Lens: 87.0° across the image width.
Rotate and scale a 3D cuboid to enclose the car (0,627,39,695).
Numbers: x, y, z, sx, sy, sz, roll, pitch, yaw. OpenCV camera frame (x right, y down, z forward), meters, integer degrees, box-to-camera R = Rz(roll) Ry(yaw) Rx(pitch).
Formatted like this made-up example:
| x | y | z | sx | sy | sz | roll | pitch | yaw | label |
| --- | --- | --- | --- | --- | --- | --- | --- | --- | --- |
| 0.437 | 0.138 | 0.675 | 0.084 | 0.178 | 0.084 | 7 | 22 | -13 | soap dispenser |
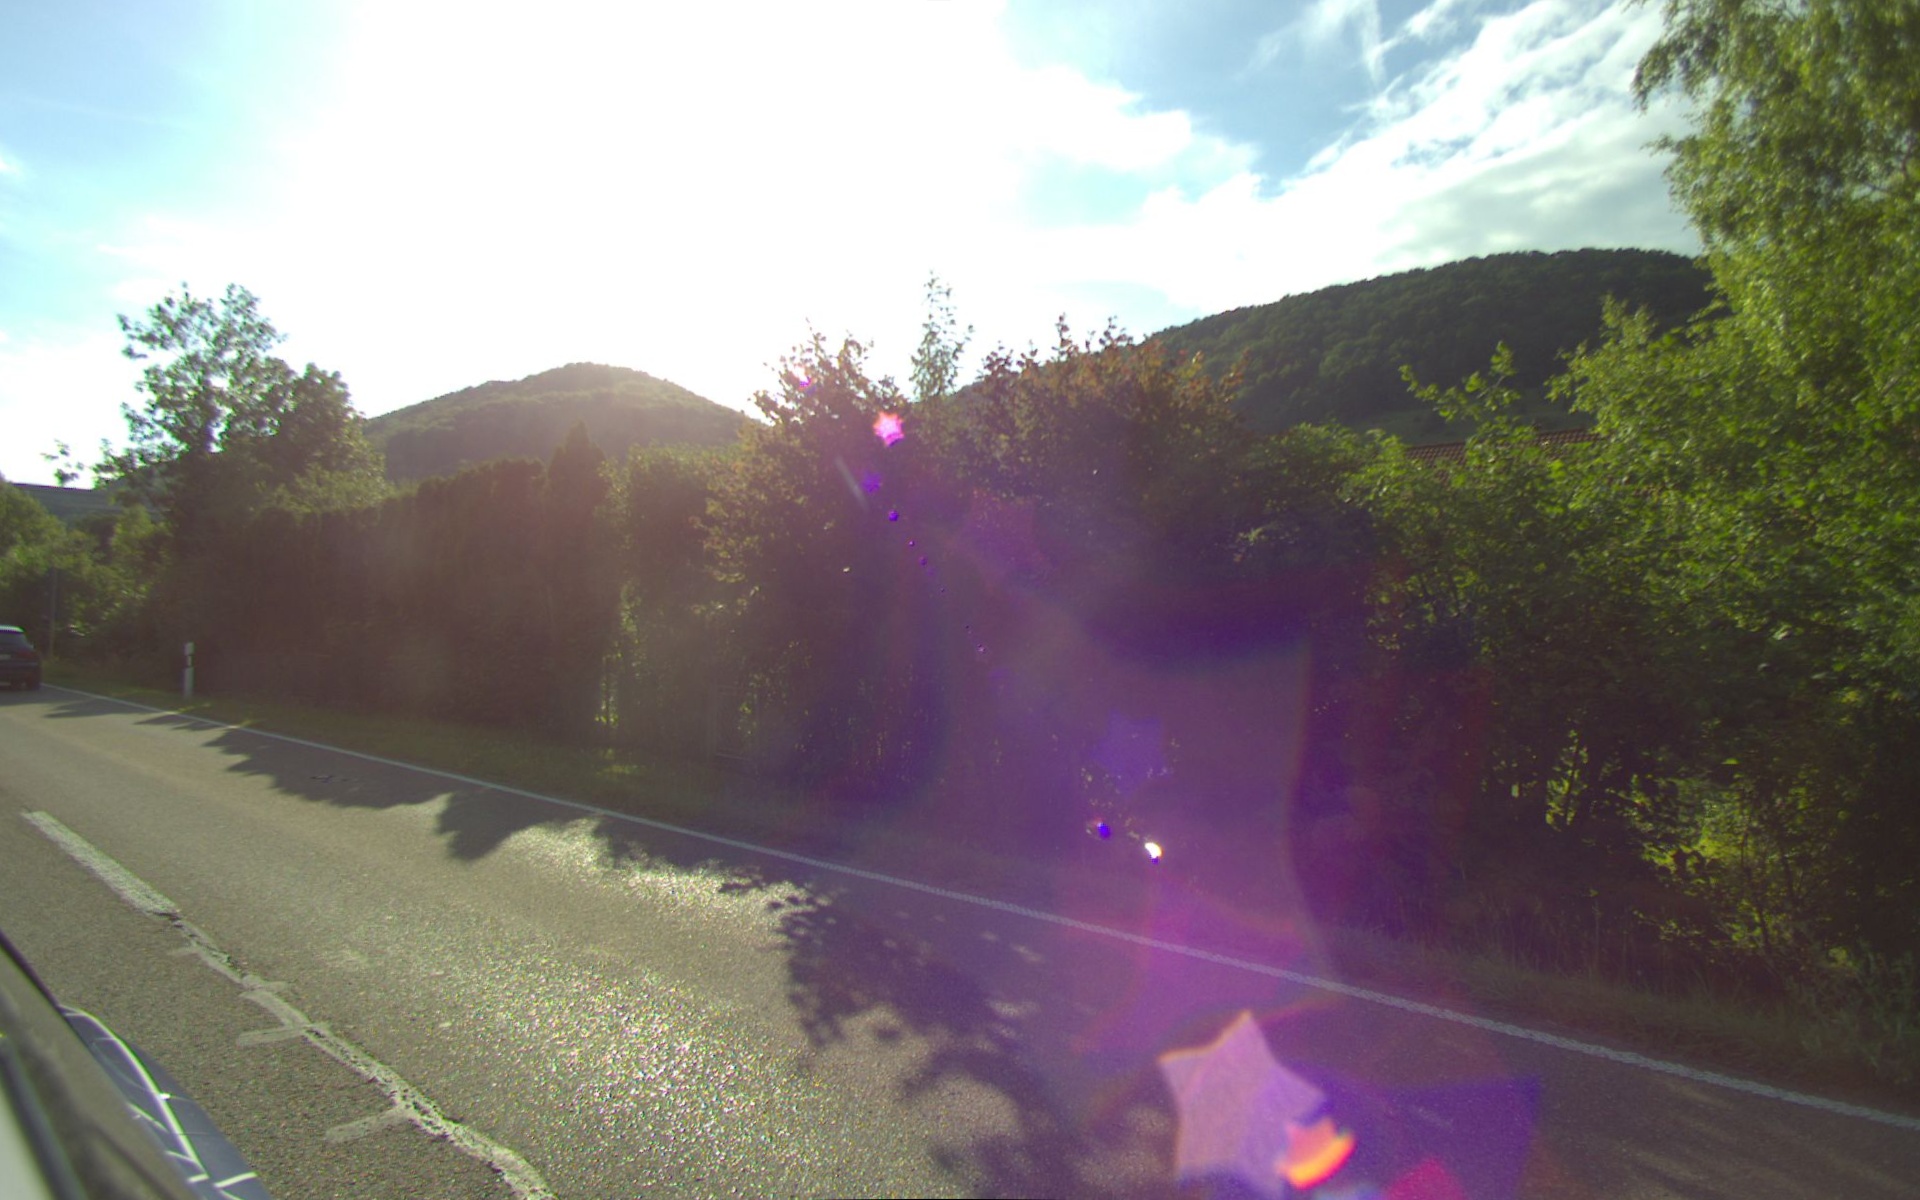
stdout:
| x | y | z | sx | sy | sz | roll | pitch | yaw | label |
| --- | --- | --- | --- | --- | --- | --- | --- | --- | --- |
| -22.144 | 1.335 | 22.792 | 3.787 | 1.426 | 1.610 | -1 | -3 | 41 | car |
